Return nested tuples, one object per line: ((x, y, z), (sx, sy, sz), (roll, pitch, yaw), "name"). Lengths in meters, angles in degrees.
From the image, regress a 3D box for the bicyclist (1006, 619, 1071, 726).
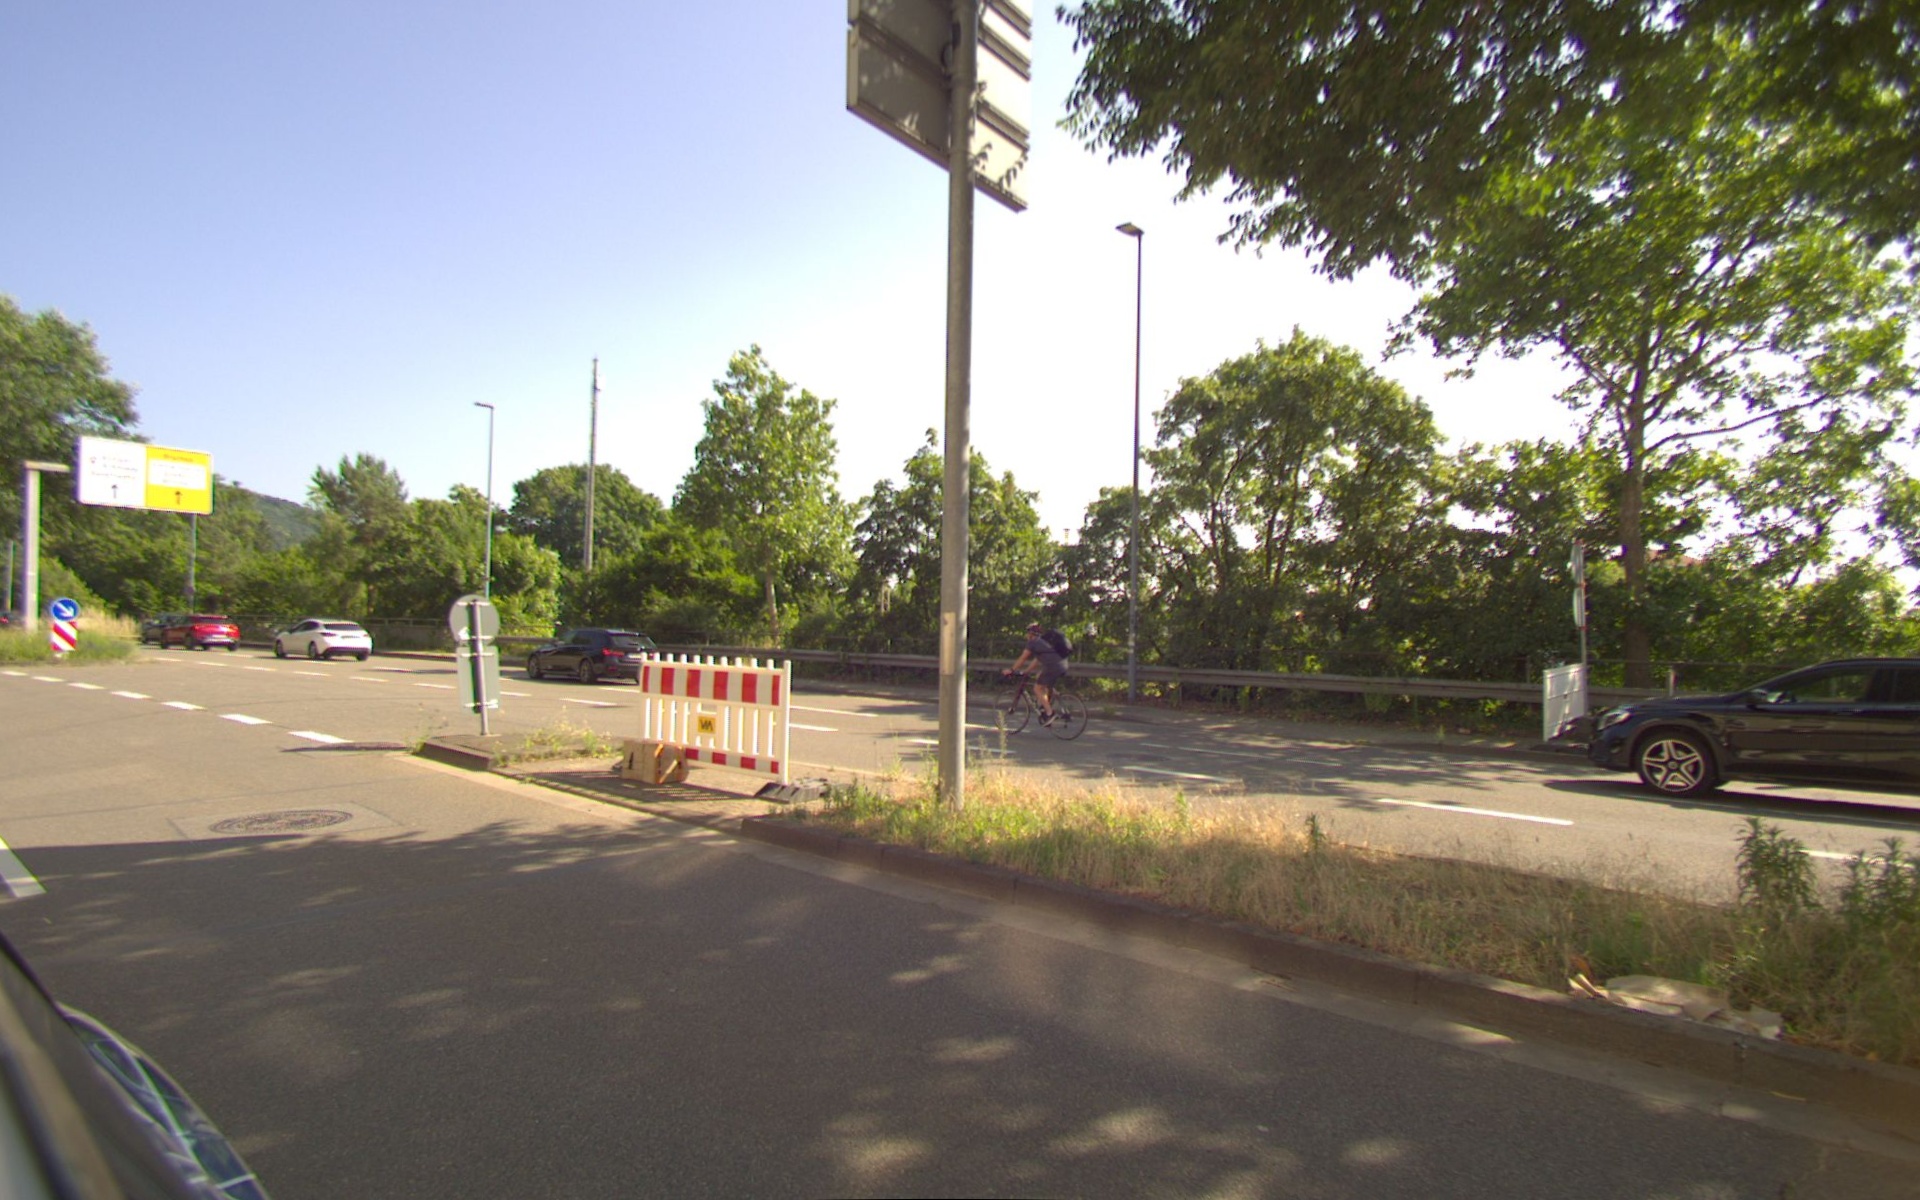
((1.178, 1.061, 15.134), (0.777, 1.545, 0.568), (-1, -2, 36), "bicyclist")

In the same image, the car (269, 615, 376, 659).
((-22.958, 1.329, 36.398), (4.197, 1.464, 1.847), (0, -3, 37), "car")

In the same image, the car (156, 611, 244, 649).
((-32.118, 1.271, 42.741), (3.955, 1.531, 1.781), (0, -3, 35), "car")

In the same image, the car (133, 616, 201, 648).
((-39.946, 1.599, 50.956), (3.640, 1.512, 1.627), (0, -3, 34), "car")

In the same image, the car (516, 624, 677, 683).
((-9.793, 1.398, 27.104), (4.611, 1.422, 1.973), (-1, -3, 40), "car")

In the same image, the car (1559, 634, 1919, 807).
((9.003, 1.171, 10.305), (4.699, 1.540, 1.971), (-1, -4, 44), "car")

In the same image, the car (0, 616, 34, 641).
((-58.437, 1.728, 61.989), (3.567, 1.480, 1.662), (0, -3, 33), "car")

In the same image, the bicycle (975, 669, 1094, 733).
((1.098, 1.498, 15.181), (1.803, 0.839, 0.489), (-1, -2, 37), "bicycle")
